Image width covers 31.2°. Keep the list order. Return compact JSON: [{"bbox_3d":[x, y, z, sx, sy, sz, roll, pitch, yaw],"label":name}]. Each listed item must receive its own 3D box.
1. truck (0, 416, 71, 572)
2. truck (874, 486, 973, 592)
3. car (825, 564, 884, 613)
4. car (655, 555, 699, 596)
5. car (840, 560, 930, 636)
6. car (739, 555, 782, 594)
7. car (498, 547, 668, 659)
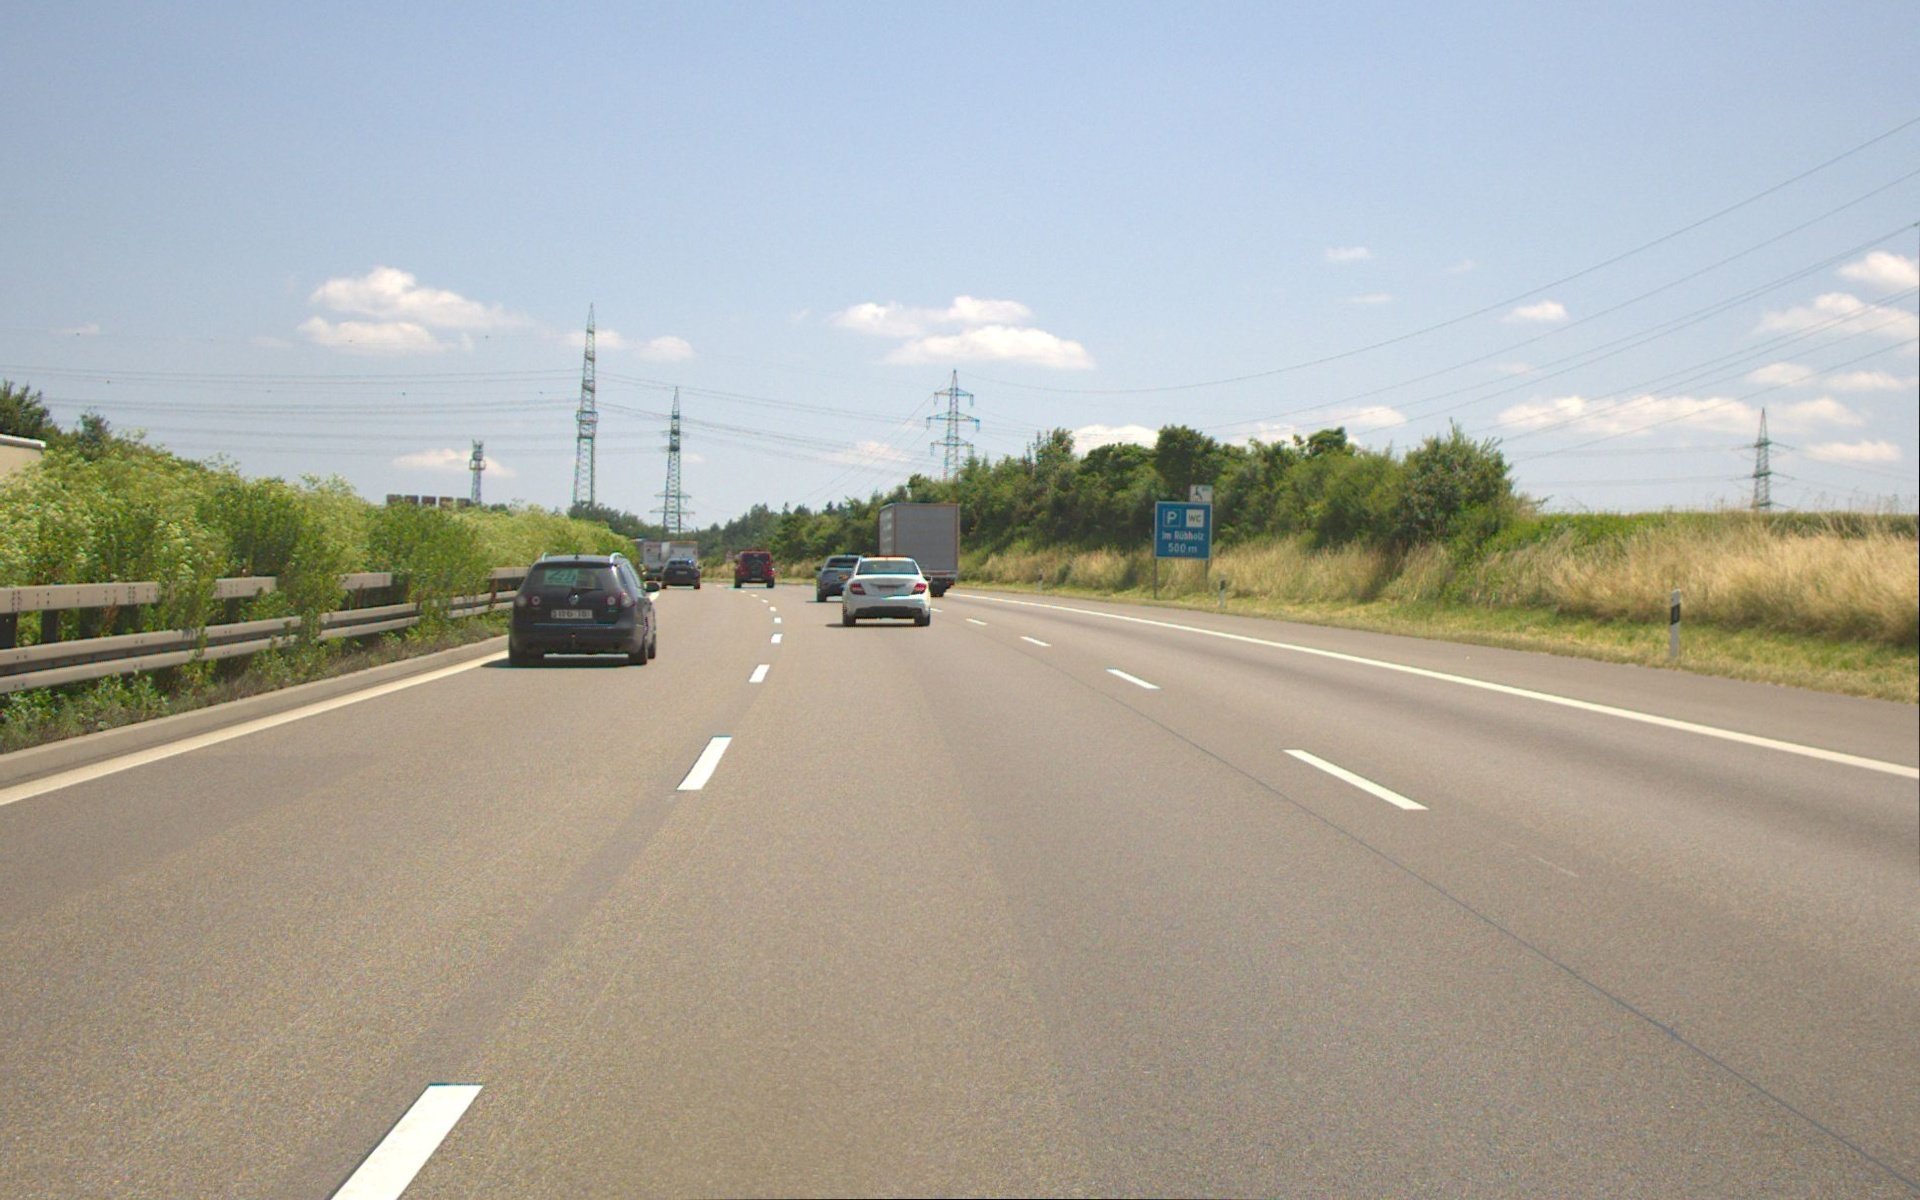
[{"bbox_3d":[-22.891,-2.381,76.105,2.673,3.506,17.041,0,1,-2],"label":"truck"},{"bbox_3d":[-1.484,-2.297,133.564,3.220,3.911,9.062,1,0,-5],"label":"truck"},{"bbox_3d":[-3.410,-0.379,111.639,1.839,1.535,3.915,0,1,-1],"label":"car"},{"bbox_3d":[-13.225,-1.156,160.745,1.993,1.853,4.001,0,1,-5],"label":"car"},{"bbox_3d":[-1.573,-0.058,71.703,1.819,1.535,3.915,0,1,-2],"label":"car"},{"bbox_3d":[-9.981,-1.298,171.794,1.901,1.919,4.001,0,1,-7],"label":"car"},{"bbox_3d":[-4.967,0.008,45.784,1.756,1.424,4.000,0,1,1],"label":"car"}]
